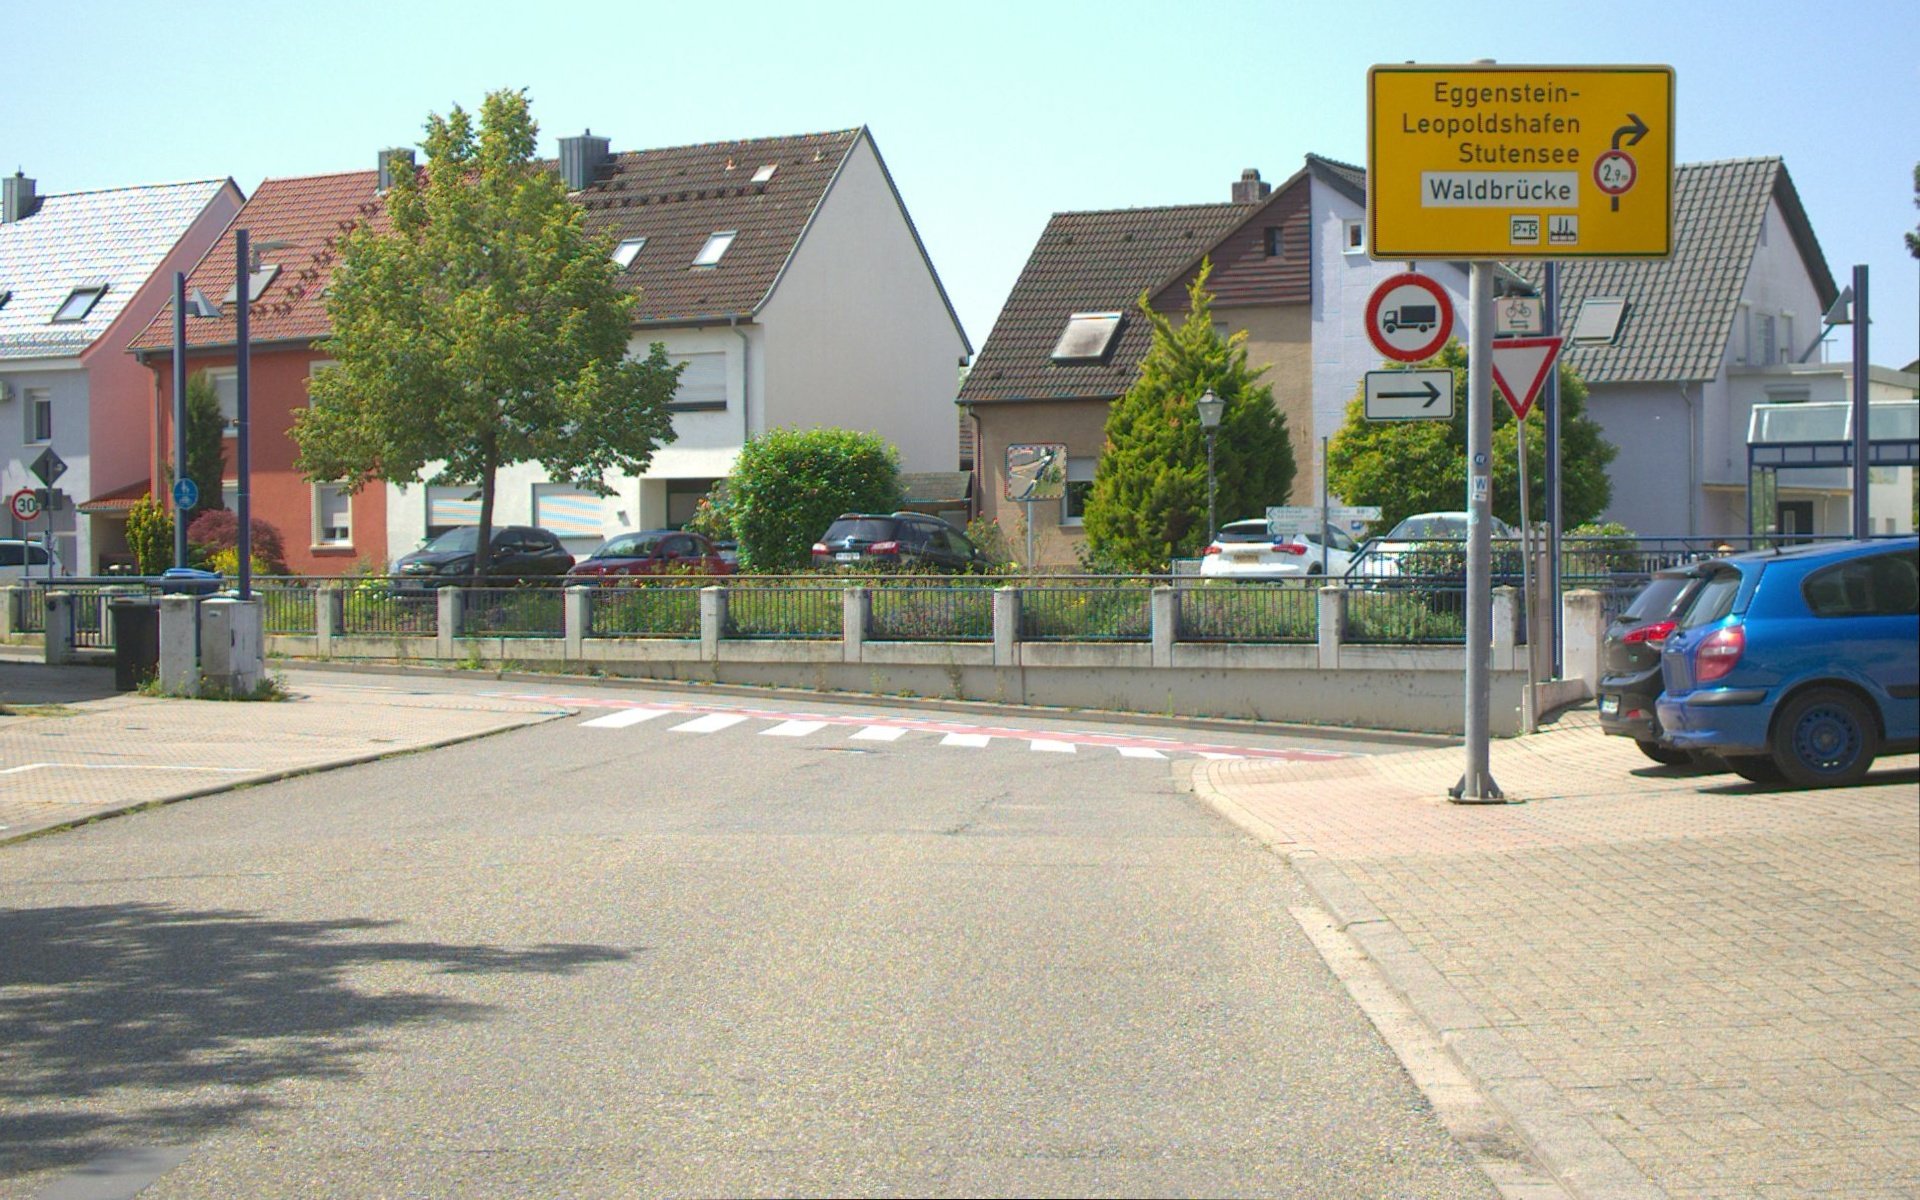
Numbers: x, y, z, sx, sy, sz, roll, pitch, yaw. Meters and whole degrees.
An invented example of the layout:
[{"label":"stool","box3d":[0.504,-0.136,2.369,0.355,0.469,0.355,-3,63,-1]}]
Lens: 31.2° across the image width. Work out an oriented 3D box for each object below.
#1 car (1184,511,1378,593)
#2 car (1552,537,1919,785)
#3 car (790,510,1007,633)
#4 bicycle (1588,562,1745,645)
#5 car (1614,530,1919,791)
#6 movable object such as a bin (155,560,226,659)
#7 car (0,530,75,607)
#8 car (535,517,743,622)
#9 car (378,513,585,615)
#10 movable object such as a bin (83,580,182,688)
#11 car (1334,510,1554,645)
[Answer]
[{"label":"car","box3d":[5.088,-0.742,54.141,1.828,1.016,3.454,5,0,27]},{"label":"car","box3d":[6.337,0.345,24.141,3.894,1.485,1.810,-5,-1,-2]},{"label":"car","box3d":[-0.994,-0.460,57.950,1.870,1.791,3.994,5,0,27]},{"label":"bicycle","box3d":[9.946,0.043,48.419,2.117,1.122,0.332,1,1,21]},{"label":"car","box3d":[6.350,0.296,20.876,4.322,1.435,1.780,-3,-2,0]},{"label":"movable object such as a bin","box3d":[-9.711,0.112,43.404,0.839,1.209,1.277,1,0,-12]},{"label":"car","box3d":[-20.607,-0.741,71.234,1.745,1.483,4.248,5,0,33]},{"label":"car","box3d":[-5.567,-0.513,59.996,1.870,1.581,3.604,5,0,27]},{"label":"car","box3d":[-8.578,-0.630,61.944,1.870,1.581,3.604,5,0,27]},{"label":"movable object such as a bin","box3d":[-9.633,0.390,40.037,0.885,1.221,0.902,1,0,3]},{"label":"car","box3d":[7.528,-0.323,53.129,1.997,1.791,4.190,5,0,27]}]
